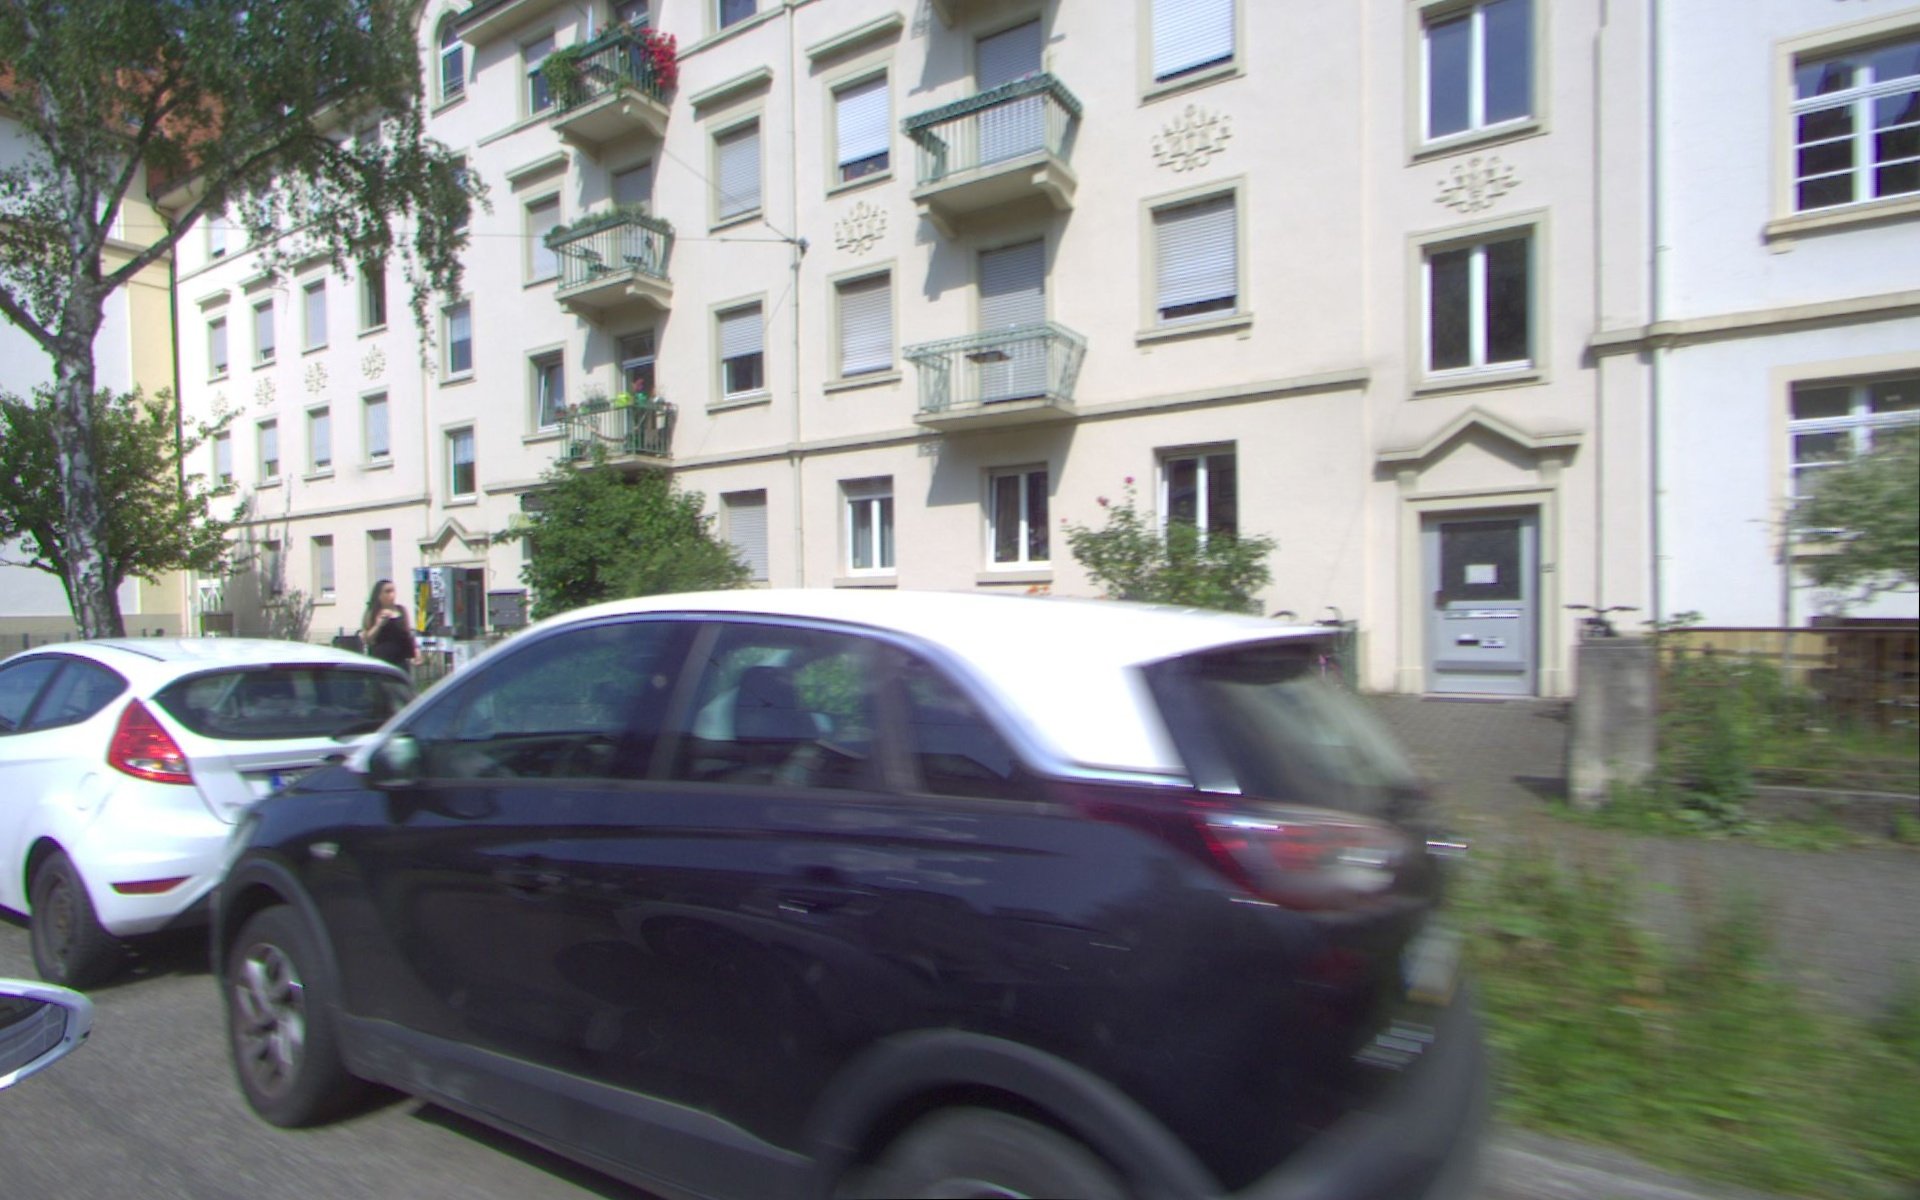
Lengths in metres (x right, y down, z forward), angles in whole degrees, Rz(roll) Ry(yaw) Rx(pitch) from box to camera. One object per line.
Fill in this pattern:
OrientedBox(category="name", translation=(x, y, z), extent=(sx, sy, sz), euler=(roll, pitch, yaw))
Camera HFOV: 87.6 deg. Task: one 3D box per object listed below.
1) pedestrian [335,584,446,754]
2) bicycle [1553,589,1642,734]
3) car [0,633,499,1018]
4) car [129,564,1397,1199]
OrientedBox(category="pedestrian", translation=(-6.012, 0.697, 10.591), extent=(0.681, 1.706, 0.727), euler=(0, 3, 35))
OrientedBox(category="bicycle", translation=(6.177, 0.538, 9.769), extent=(0.662, 1.268, 1.969), euler=(0, 0, 31))
OrientedBox(category="car", translation=(-4.423, 0.911, 5.476), extent=(3.741, 1.434, 1.670), euler=(-1, -3, 32))
OrientedBox(category="car", translation=(-0.790, 0.795, 3.007), extent=(3.704, 1.599, 1.491), euler=(-1, -2, 31))
